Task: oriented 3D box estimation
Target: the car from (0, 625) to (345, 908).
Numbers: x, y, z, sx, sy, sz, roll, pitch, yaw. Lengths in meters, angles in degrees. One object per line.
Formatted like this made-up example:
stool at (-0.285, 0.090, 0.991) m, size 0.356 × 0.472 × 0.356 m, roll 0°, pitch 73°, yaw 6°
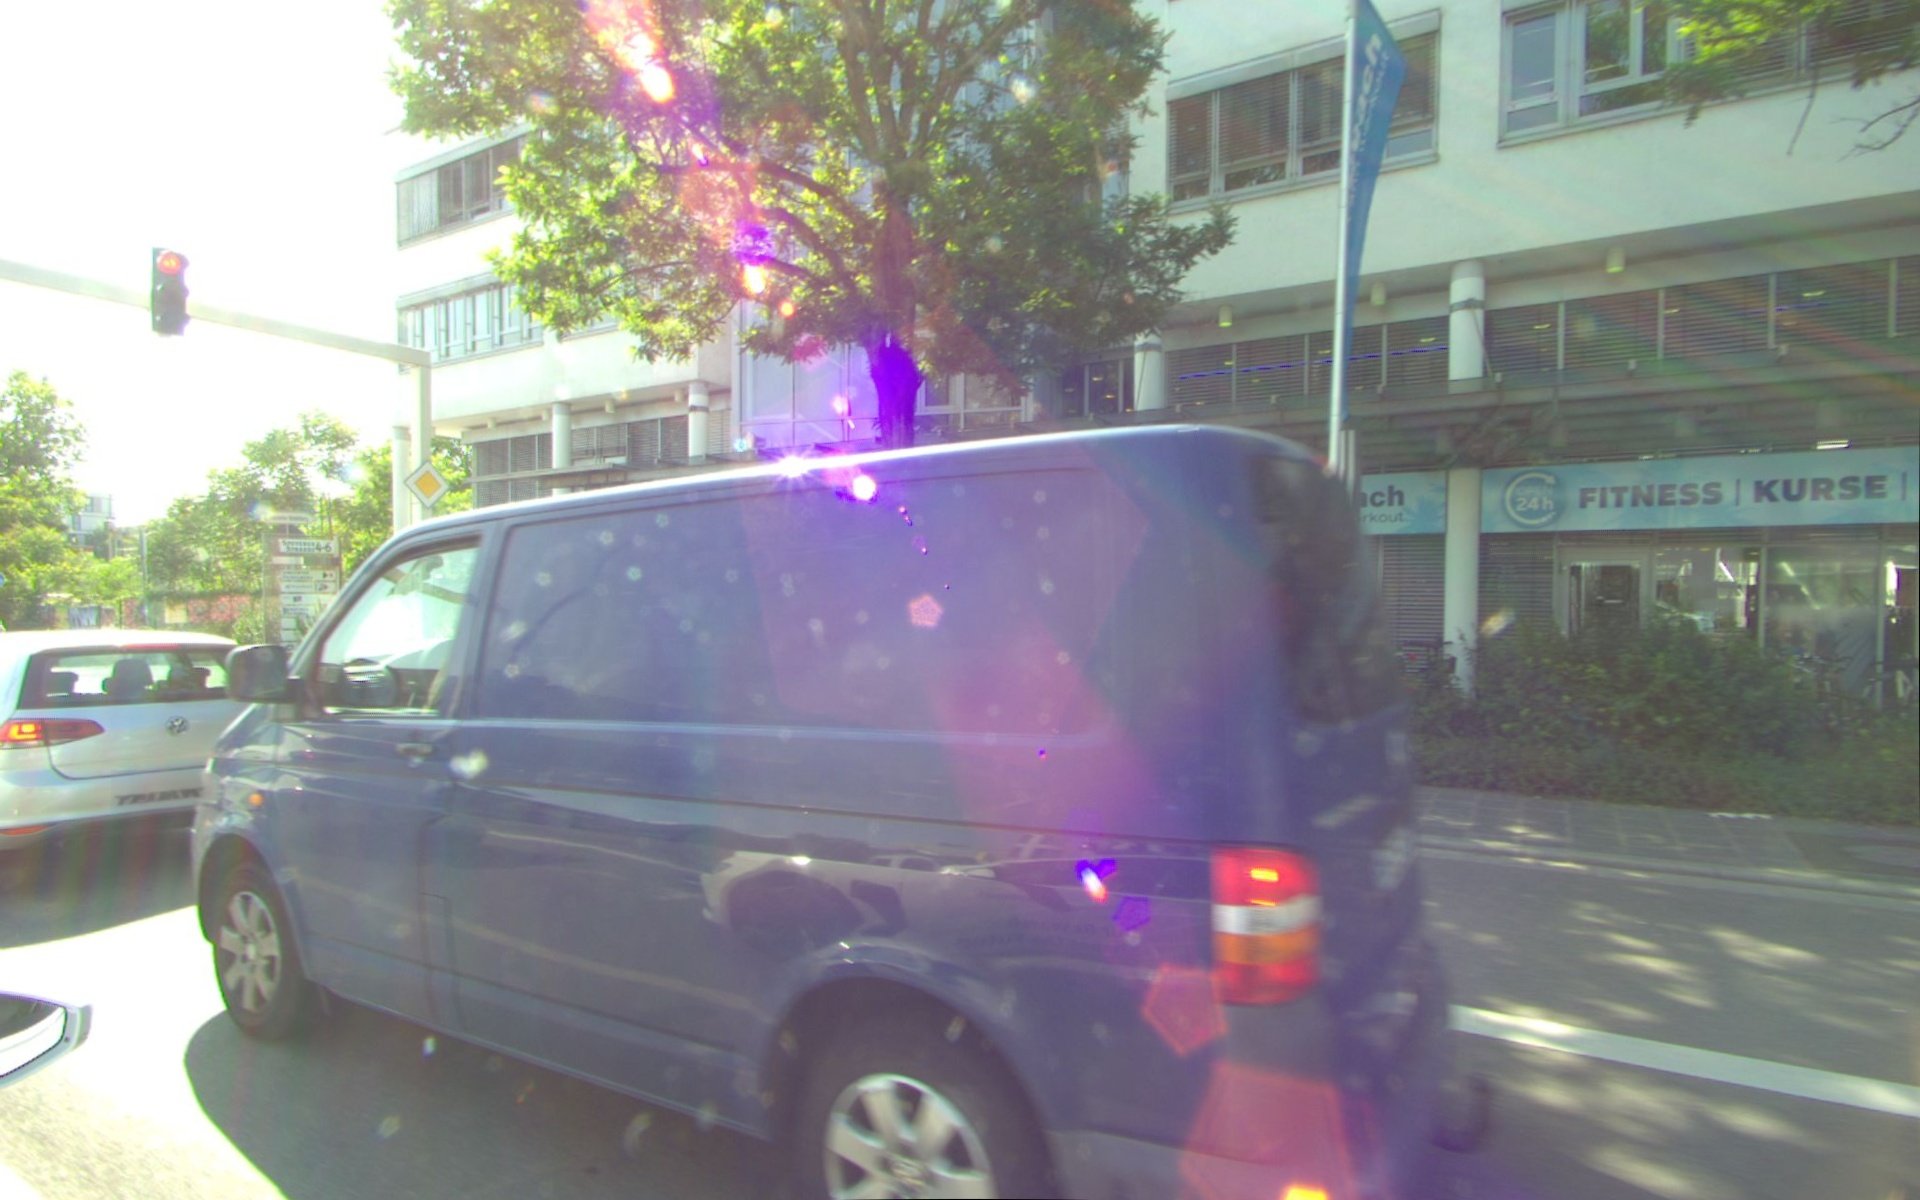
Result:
car at (-6.247, 0.919, 6.939) m, size 3.942 × 1.448 × 1.804 m, roll -1°, pitch -1°, yaw 31°

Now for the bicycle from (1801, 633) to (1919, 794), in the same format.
bicycle at (8.587, 0.998, 9.210) m, size 1.853 × 1.347 × 0.505 m, roll 0°, pitch 0°, yaw -22°

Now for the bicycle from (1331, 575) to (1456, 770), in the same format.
bicycle at (4.391, 0.696, 10.120) m, size 1.375 × 1.870 × 0.407 m, roll 0°, pitch 0°, yaw -29°

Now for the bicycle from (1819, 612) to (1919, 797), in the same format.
bicycle at (7.519, 0.771, 7.945) m, size 1.665 × 1.347 × 0.504 m, roll 0°, pitch 0°, yaw -28°

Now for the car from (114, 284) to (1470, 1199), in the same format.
car at (-0.916, 0.555, 3.679) m, size 4.821 × 1.973 × 1.990 m, roll -1°, pitch -1°, yaw 32°

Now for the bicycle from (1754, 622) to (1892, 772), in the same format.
bicycle at (8.552, 0.907, 9.904) m, size 1.858 × 1.347 × 0.503 m, roll 0°, pitch 0°, yaw -32°

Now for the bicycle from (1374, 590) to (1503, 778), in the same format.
bicycle at (4.680, 0.778, 9.767) m, size 1.375 × 1.744 × 0.407 m, roll 0°, pitch 0°, yaw -29°
